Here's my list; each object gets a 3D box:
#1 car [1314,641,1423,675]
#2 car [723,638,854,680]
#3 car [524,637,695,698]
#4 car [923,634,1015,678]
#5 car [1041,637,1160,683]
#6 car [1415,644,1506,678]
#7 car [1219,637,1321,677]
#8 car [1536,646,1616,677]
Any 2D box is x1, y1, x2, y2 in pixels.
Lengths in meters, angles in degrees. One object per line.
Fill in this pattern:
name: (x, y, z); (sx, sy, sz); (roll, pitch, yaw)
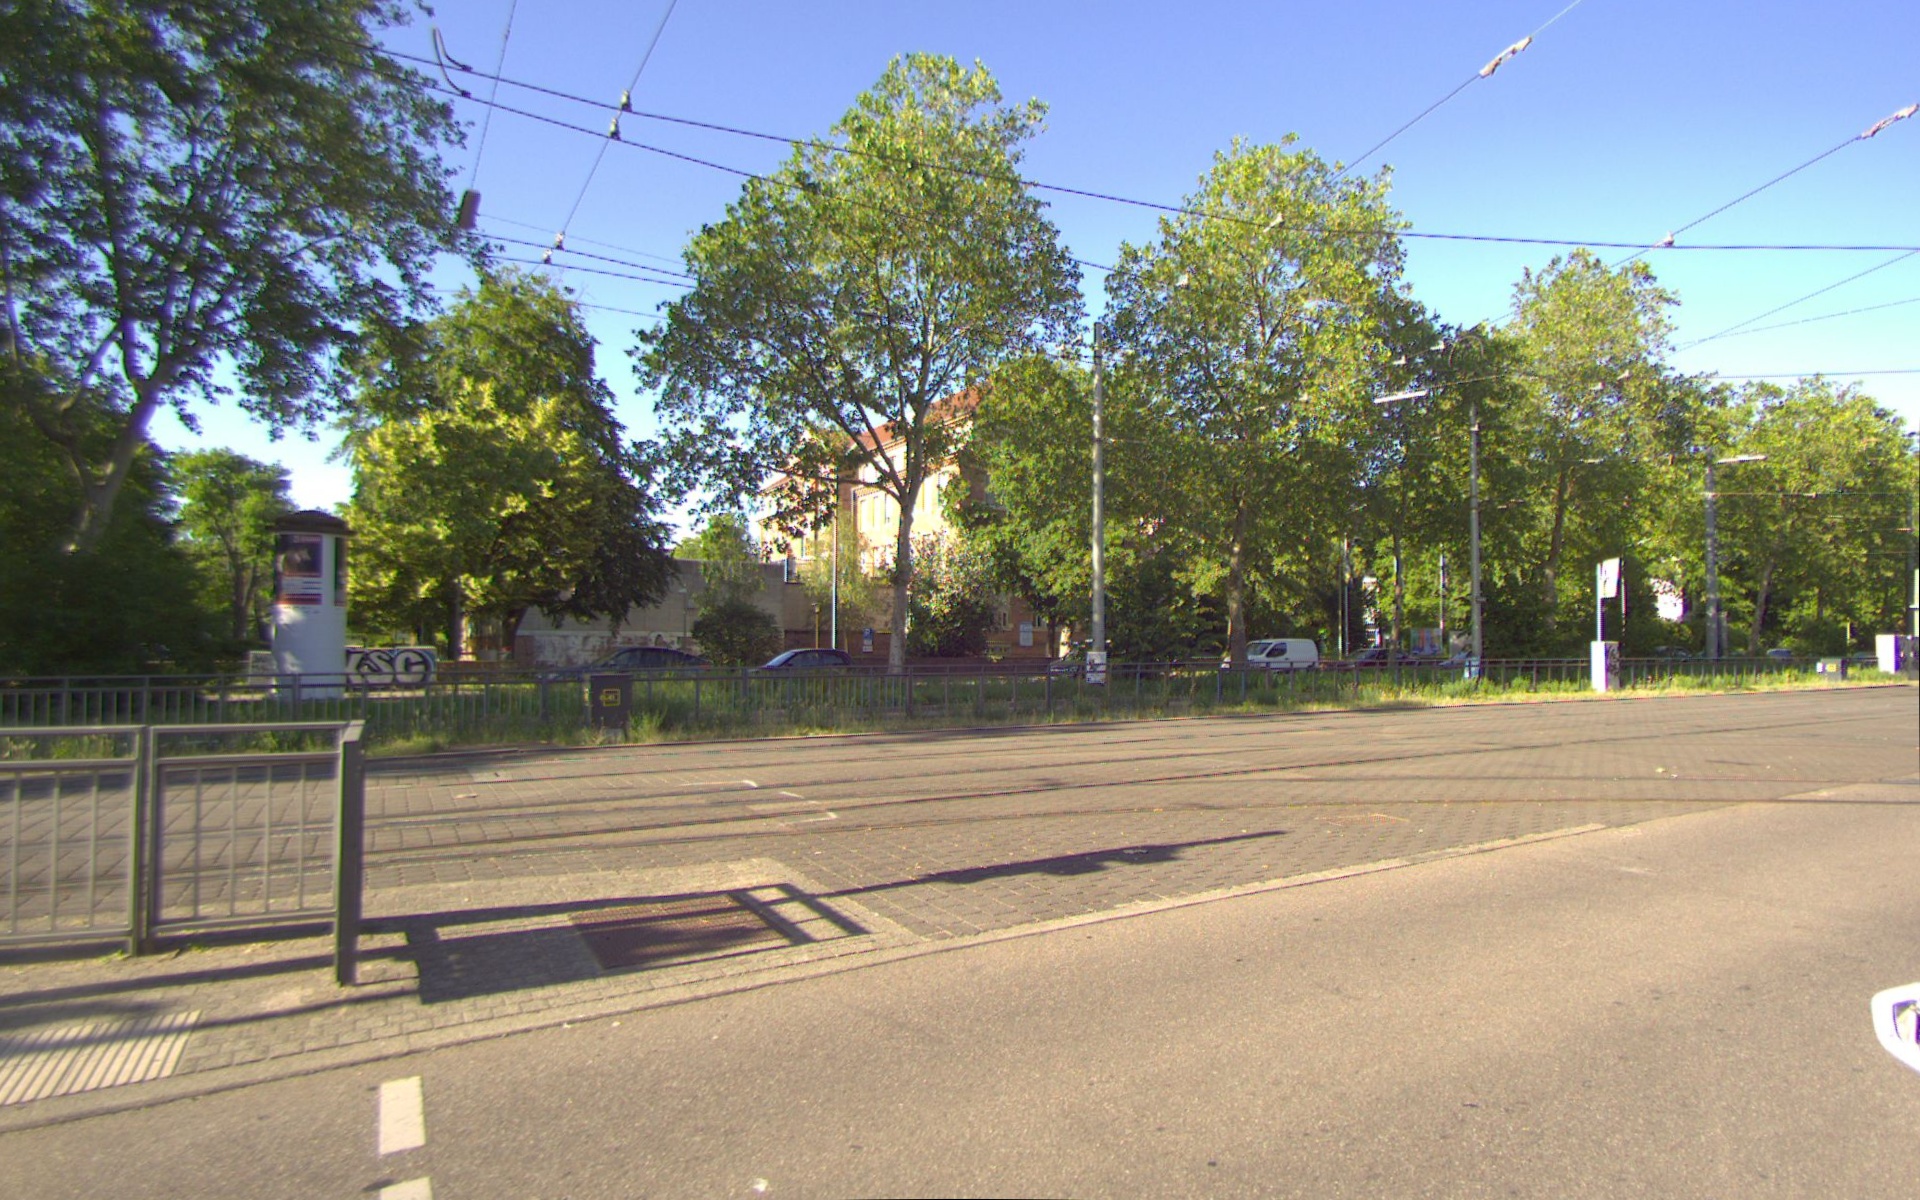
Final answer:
car: (17.724, 2.532, 43.486); (4.795, 1.366, 1.926); (3, -2, -31)
car: (-5.055, 1.723, 29.741); (3.532, 1.155, 1.498); (1, -1, -31)
car: (-9.380, 1.753, 26.958); (4.098, 1.529, 1.661); (1, -2, -31)
car: (0.422, 2.641, 47.834); (3.953, 2.040, 1.985); (1, -2, -30)
car: (5.052, 2.122, 35.919); (4.098, 1.529, 1.661); (1, -1, -31)
car: (23.777, 2.893, 47.719); (4.231, 1.529, 1.926); (3, -2, -31)
car: (12.539, 2.281, 40.525); (4.098, 1.529, 1.661); (2, -2, -31)
car: (32.936, 3.302, 53.673); (4.231, 1.529, 1.926); (3, -2, -31)
